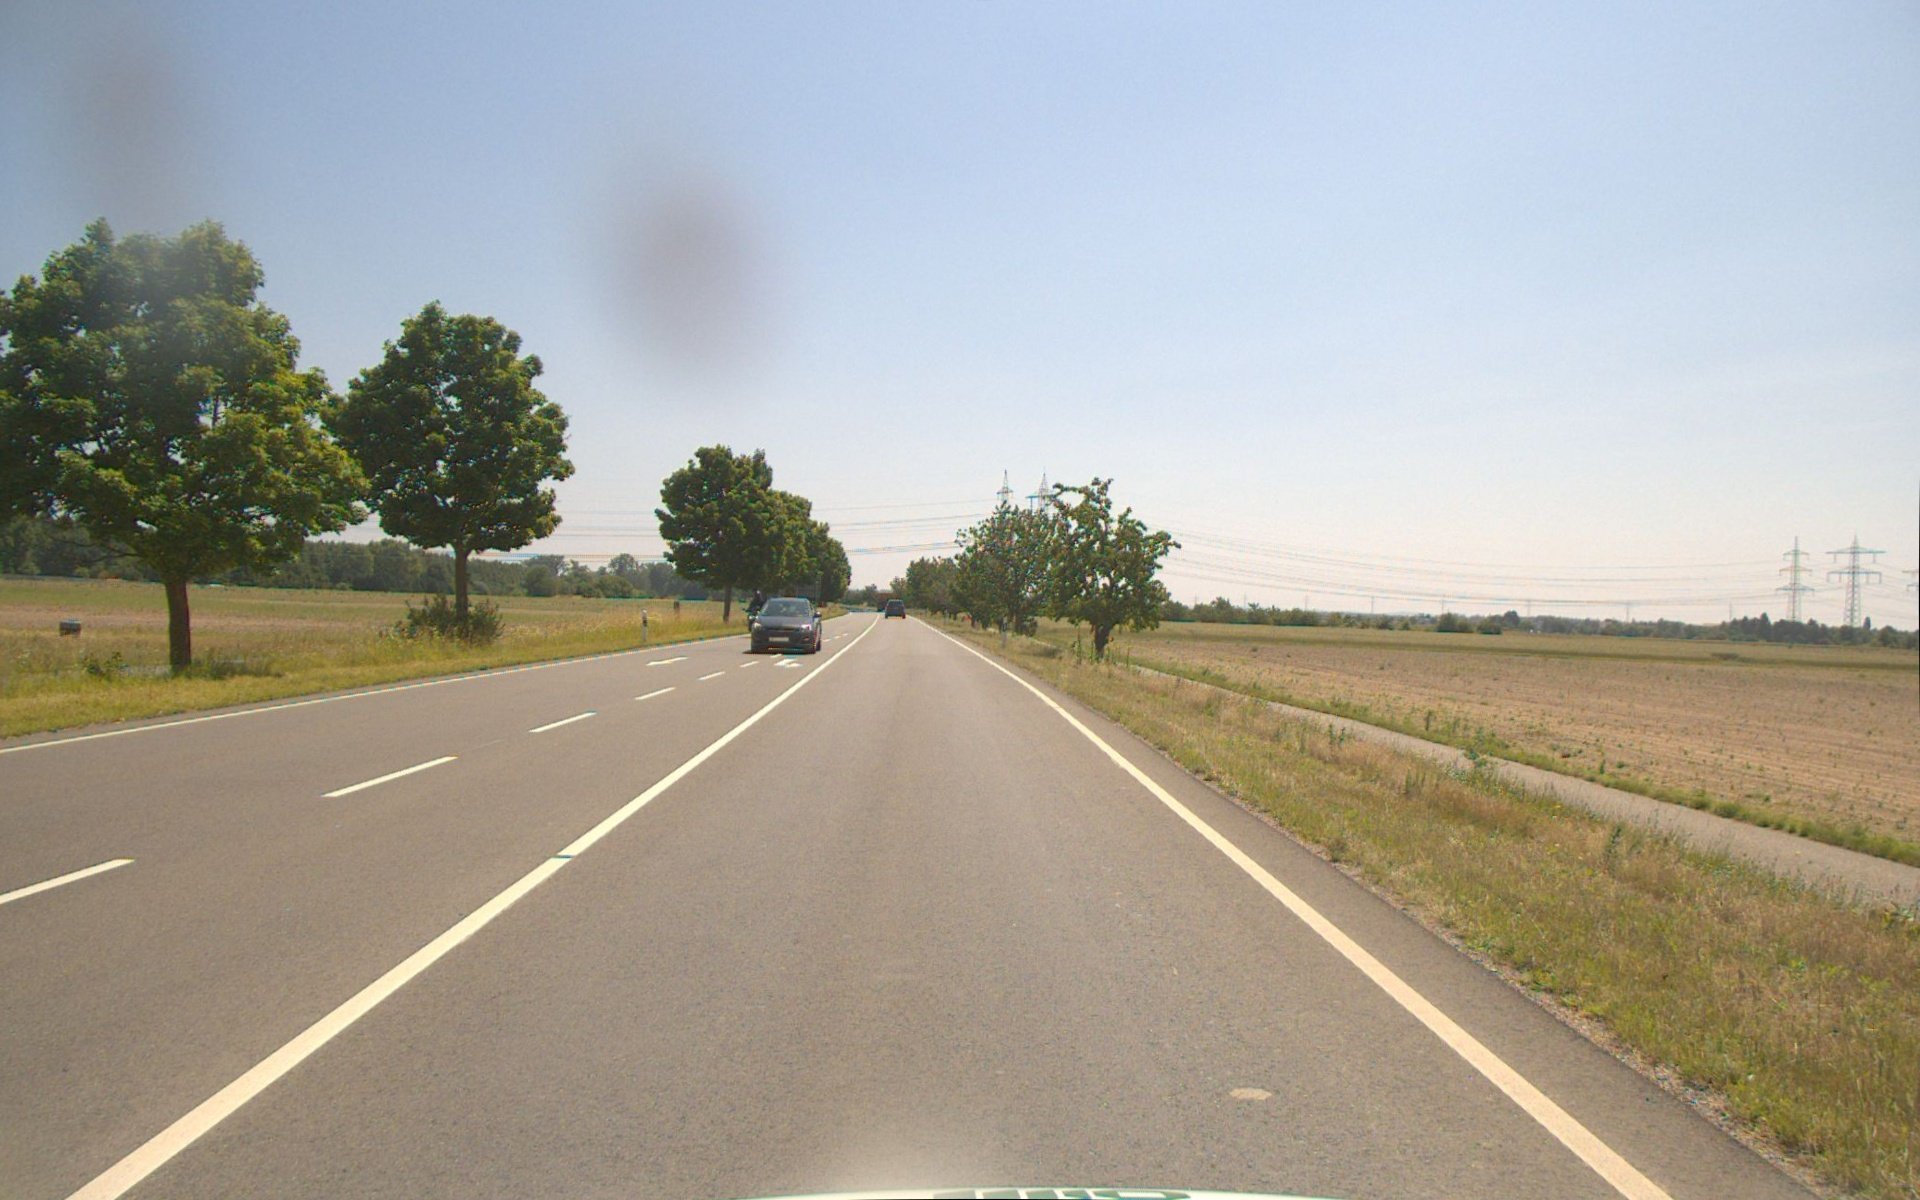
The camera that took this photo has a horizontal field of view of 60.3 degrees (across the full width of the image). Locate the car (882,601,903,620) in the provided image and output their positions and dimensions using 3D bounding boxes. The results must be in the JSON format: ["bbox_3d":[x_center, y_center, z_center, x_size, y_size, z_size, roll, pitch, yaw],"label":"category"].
[{"bbox_3d":[-6.273,0.958,153.652,1.847,1.544,4.037,4,0,-3],"label":"car"}]

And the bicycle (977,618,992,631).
[{"bbox_3d":[2.521,2.551,170.397,1.196,1.185,2.432,4,0,-7],"label":"bicycle"}]

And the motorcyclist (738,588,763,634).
[{"bbox_3d":[-8.177,0.421,64.609,0.836,1.751,1.088,1,0,0],"label":"motorcyclist"}]

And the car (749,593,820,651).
[{"bbox_3d":[-4.834,0.576,46.025,1.704,1.499,4.615,1,0,-3],"label":"car"}]

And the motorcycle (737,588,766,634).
[{"bbox_3d":[-8.183,0.428,64.950,0.870,1.774,2.444,1,0,-1],"label":"motorcycle"}]
